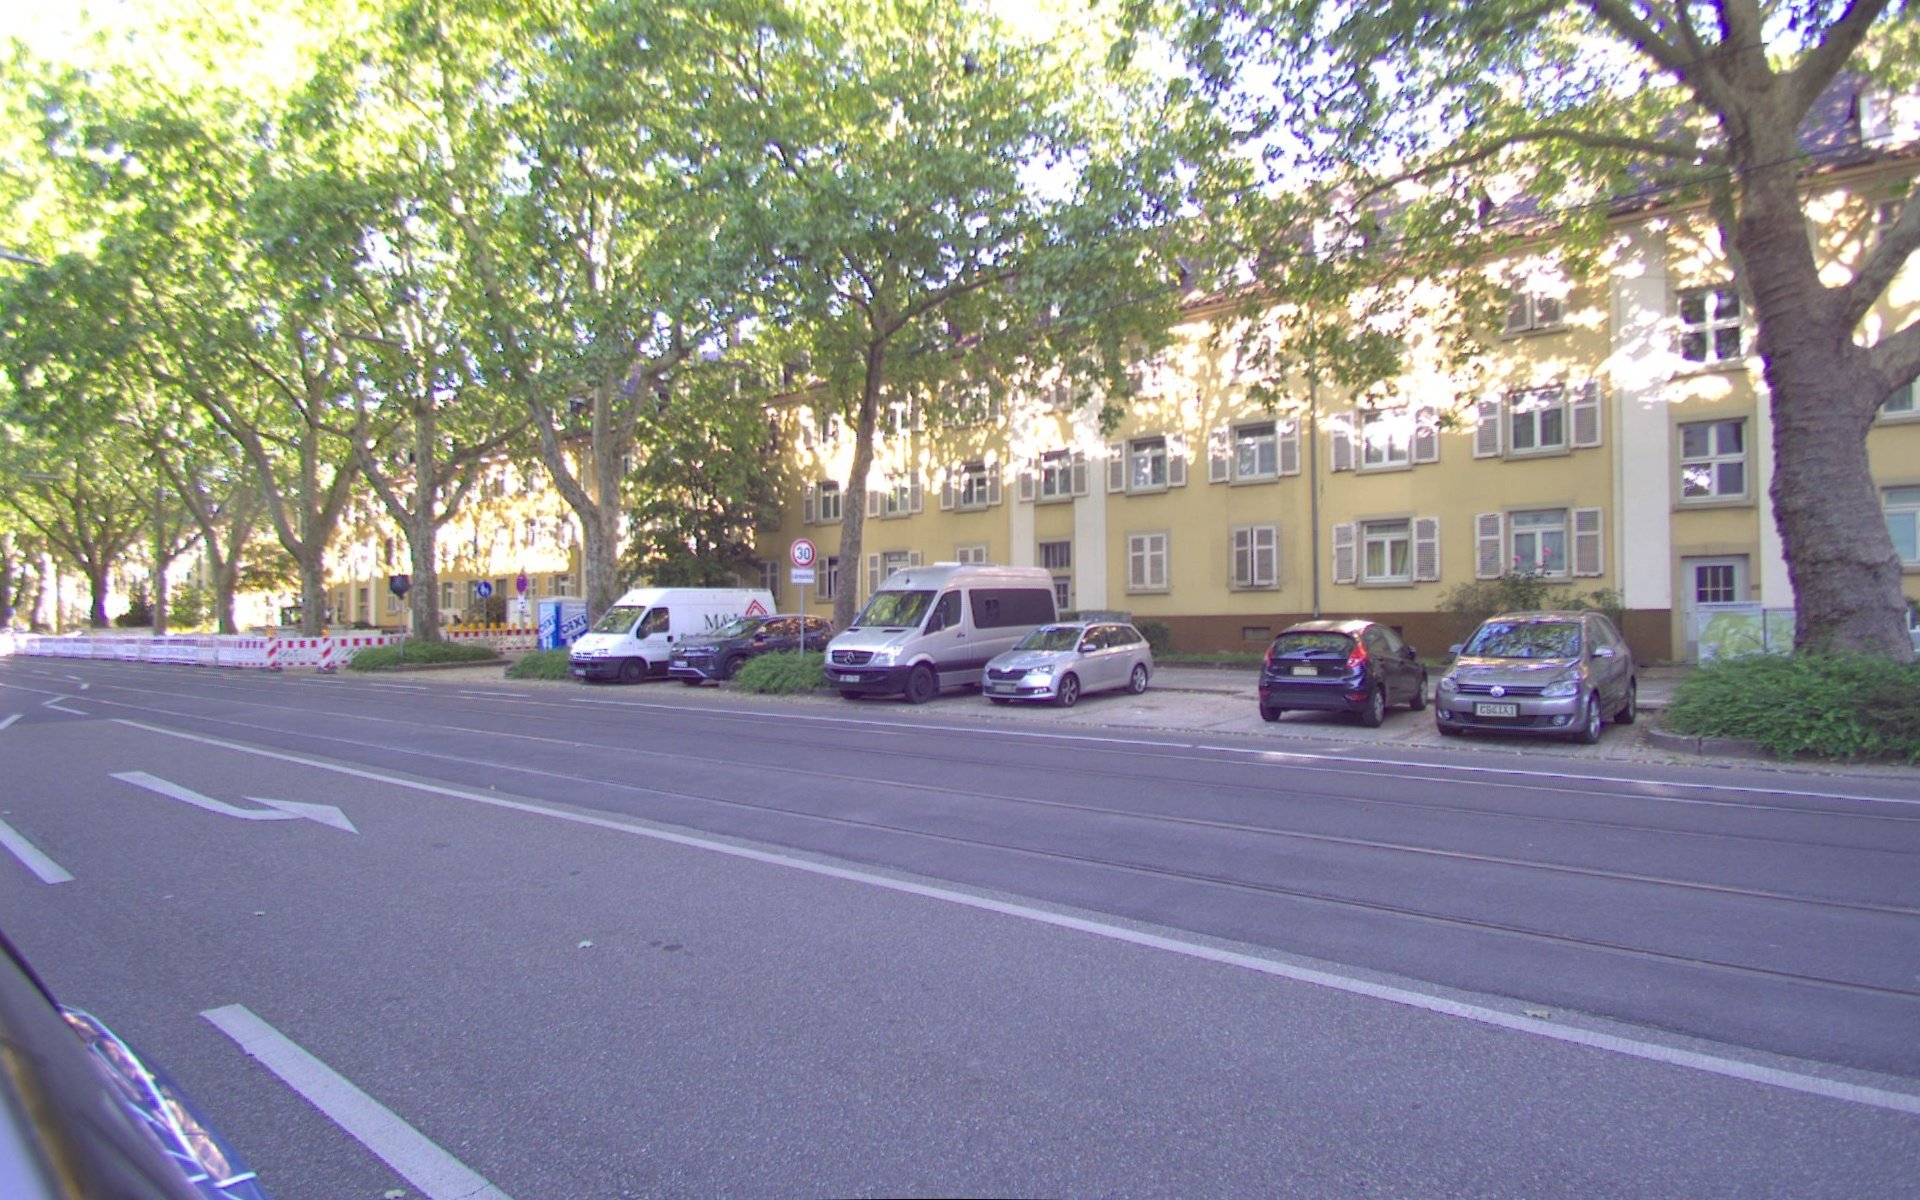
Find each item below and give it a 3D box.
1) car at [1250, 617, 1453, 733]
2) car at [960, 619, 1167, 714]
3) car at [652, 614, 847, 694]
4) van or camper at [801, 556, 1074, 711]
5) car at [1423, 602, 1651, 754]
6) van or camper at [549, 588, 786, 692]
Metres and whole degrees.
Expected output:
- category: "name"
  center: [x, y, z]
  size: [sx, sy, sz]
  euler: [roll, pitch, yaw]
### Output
- category: "car"
  center: [6.035, 1.025, 15.370]
  size: [1.693, 1.457, 3.811]
  euler: [-1, 0, 41]
- category: "car"
  center: [2.022, 1.135, 18.768]
  size: [1.693, 1.457, 4.221]
  euler: [-1, 0, 41]
- category: "car"
  center: [-4.952, 1.213, 24.322]
  size: [1.693, 1.645, 4.481]
  euler: [-1, 0, 41]
- category: "van or camper"
  center: [-0.248, 0.558, 20.326]
  size: [2.154, 2.668, 5.857]
  euler: [-1, 0, 40]
- category: "car"
  center: [7.690, 0.877, 13.310]
  size: [1.844, 1.631, 4.028]
  euler: [-1, 0, 41]
- category: "van or camper"
  center: [-7.431, 0.908, 26.303]
  size: [2.154, 2.403, 5.690]
  euler: [-1, 0, 40]
